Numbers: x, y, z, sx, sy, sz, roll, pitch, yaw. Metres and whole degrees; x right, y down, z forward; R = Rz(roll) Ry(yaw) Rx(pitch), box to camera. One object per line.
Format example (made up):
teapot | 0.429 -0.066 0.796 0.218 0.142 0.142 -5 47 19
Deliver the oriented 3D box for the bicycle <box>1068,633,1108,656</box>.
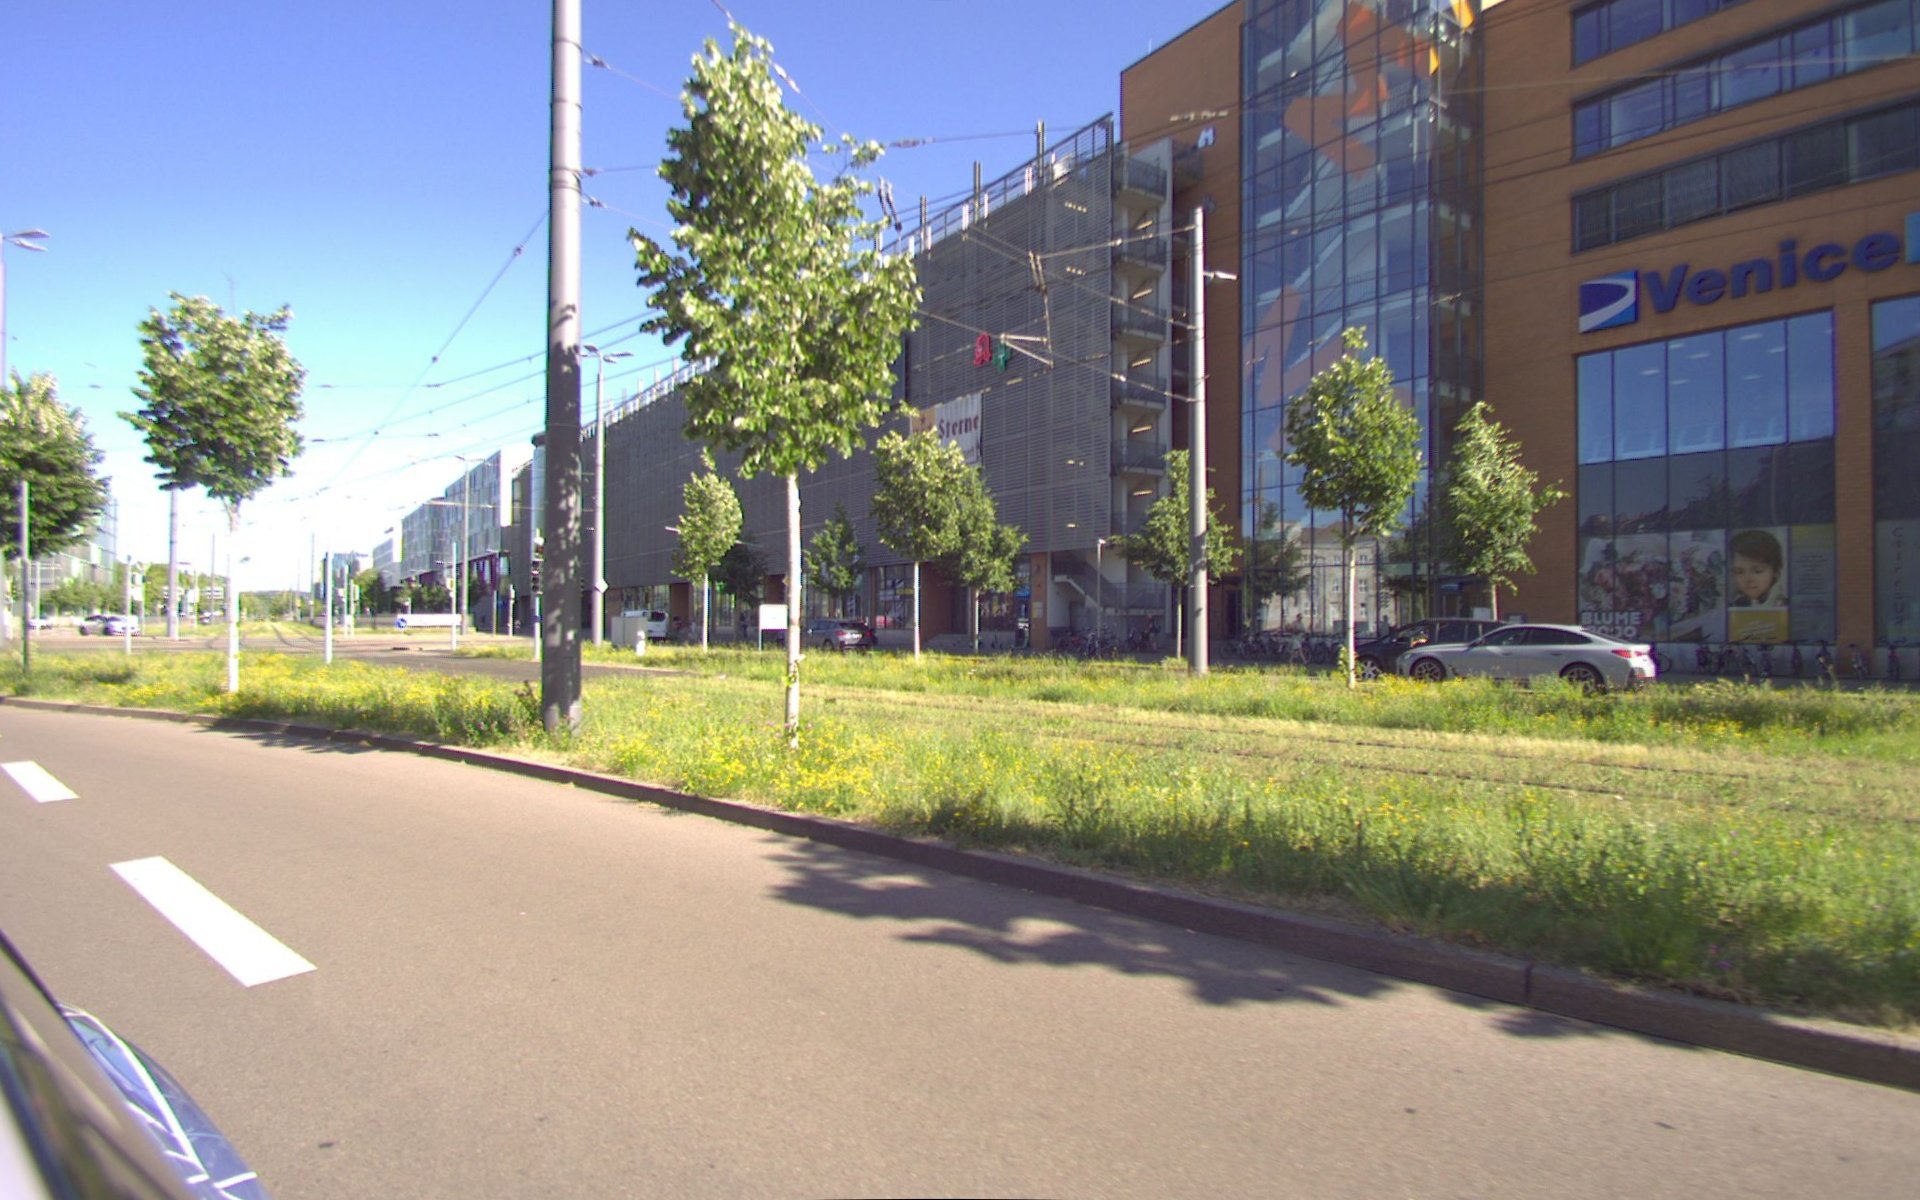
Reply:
bicycle | 5.610 1.934 44.299 2.147 0.962 0.493 0 -1 -43

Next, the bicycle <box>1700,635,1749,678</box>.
bicycle | 22.173 1.610 29.340 2.147 1.132 0.754 0 -1 -43

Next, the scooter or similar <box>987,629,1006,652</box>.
scooter or similar | 1.825 2.008 50.228 0.272 1.111 1.209 1 0 -34

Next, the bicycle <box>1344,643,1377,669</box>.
bicycle | 13.778 1.930 34.813 1.429 0.825 0.446 0 -1 -43

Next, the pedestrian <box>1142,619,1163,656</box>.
pedestrian | 8.337 1.612 43.788 0.626 1.565 0.663 1 -2 -30

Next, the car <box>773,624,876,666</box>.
car | -5.827 1.878 43.270 4.539 1.694 1.971 -1 -2 44

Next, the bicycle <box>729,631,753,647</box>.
bicycle | -14.436 2.572 66.780 0.588 1.018 2.575 1 -2 -35

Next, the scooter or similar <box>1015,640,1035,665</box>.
scooter or similar | 3.101 2.512 48.383 0.272 1.111 1.209 1 0 -34

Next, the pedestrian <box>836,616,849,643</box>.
pedestrian | -6.736 1.676 58.120 0.483 1.530 0.651 1 -2 -32

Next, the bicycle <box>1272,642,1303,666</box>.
bicycle | 11.982 1.955 37.007 1.429 0.825 0.446 0 -1 -43

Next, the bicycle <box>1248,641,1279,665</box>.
bicycle | 11.475 1.994 38.209 1.429 0.825 0.446 0 -1 -43

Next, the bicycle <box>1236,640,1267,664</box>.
bicycle | 11.114 1.980 38.608 1.429 0.825 0.446 0 -1 -43

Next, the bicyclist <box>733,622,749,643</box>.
bicyclist | -14.456 2.141 66.770 0.584 1.418 1.315 1 -2 -35

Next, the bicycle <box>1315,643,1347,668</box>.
bicycle | 13.090 1.956 35.739 1.429 0.825 0.446 0 -1 -43

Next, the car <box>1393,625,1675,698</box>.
car | 11.863 1.191 21.149 4.791 1.344 1.971 -1 -2 44

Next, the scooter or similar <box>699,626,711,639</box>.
scooter or similar | -16.760 2.132 66.437 0.296 0.857 1.229 1 -2 -39

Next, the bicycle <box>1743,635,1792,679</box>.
bicycle | 22.764 1.597 28.515 2.147 1.132 0.754 0 -1 -43

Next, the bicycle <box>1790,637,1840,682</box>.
bicycle | 23.415 1.606 27.700 2.147 1.132 0.754 0 -1 -43

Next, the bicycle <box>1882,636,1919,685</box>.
bicycle | 24.415 1.539 26.096 2.147 1.132 0.754 0 -1 -43

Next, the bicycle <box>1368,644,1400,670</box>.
bicycle | 14.355 1.916 34.254 1.429 0.825 0.446 0 -1 -43

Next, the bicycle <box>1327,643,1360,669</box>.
bicycle | 13.347 1.931 35.209 1.429 0.825 0.446 0 -1 -43

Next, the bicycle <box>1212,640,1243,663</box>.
bicycle | 10.397 1.989 39.269 1.429 0.825 0.446 0 -1 -43

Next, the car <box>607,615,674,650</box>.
car | -19.711 1.984 62.301 2.192 2.029 5.265 1 -2 -39

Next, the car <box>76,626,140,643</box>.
car | -56.771 2.297 67.444 3.982 1.098 1.981 -1 -1 29

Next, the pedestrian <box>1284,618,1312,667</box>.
pedestrian | 11.792 1.480 35.312 0.778 1.698 0.589 -1 -2 40

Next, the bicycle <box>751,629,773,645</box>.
bicycle | -13.396 2.470 68.420 0.564 1.046 1.954 1 -2 -40

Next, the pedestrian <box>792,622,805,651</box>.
pedestrian | -8.587 1.940 53.900 0.481 1.498 0.743 1 -1 -27

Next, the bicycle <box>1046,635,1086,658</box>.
bicycle | 4.735 2.063 45.079 2.147 0.962 0.493 0 -1 -43

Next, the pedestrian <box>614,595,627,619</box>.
pedestrian | -24.845 0.494 74.059 0.624 1.764 0.582 -1 -2 35

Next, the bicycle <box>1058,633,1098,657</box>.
bicycle | 5.224 1.979 44.717 2.147 0.962 0.493 0 -1 -43

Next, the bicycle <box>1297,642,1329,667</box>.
bicycle | 12.666 1.951 36.284 1.429 0.825 0.446 0 -1 -43

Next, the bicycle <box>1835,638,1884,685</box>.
bicycle | 23.970 1.614 26.959 2.147 1.132 0.754 0 -1 -43

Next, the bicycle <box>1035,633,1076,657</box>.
bicycle | 4.317 2.015 45.588 2.147 0.962 0.493 0 -1 -43
